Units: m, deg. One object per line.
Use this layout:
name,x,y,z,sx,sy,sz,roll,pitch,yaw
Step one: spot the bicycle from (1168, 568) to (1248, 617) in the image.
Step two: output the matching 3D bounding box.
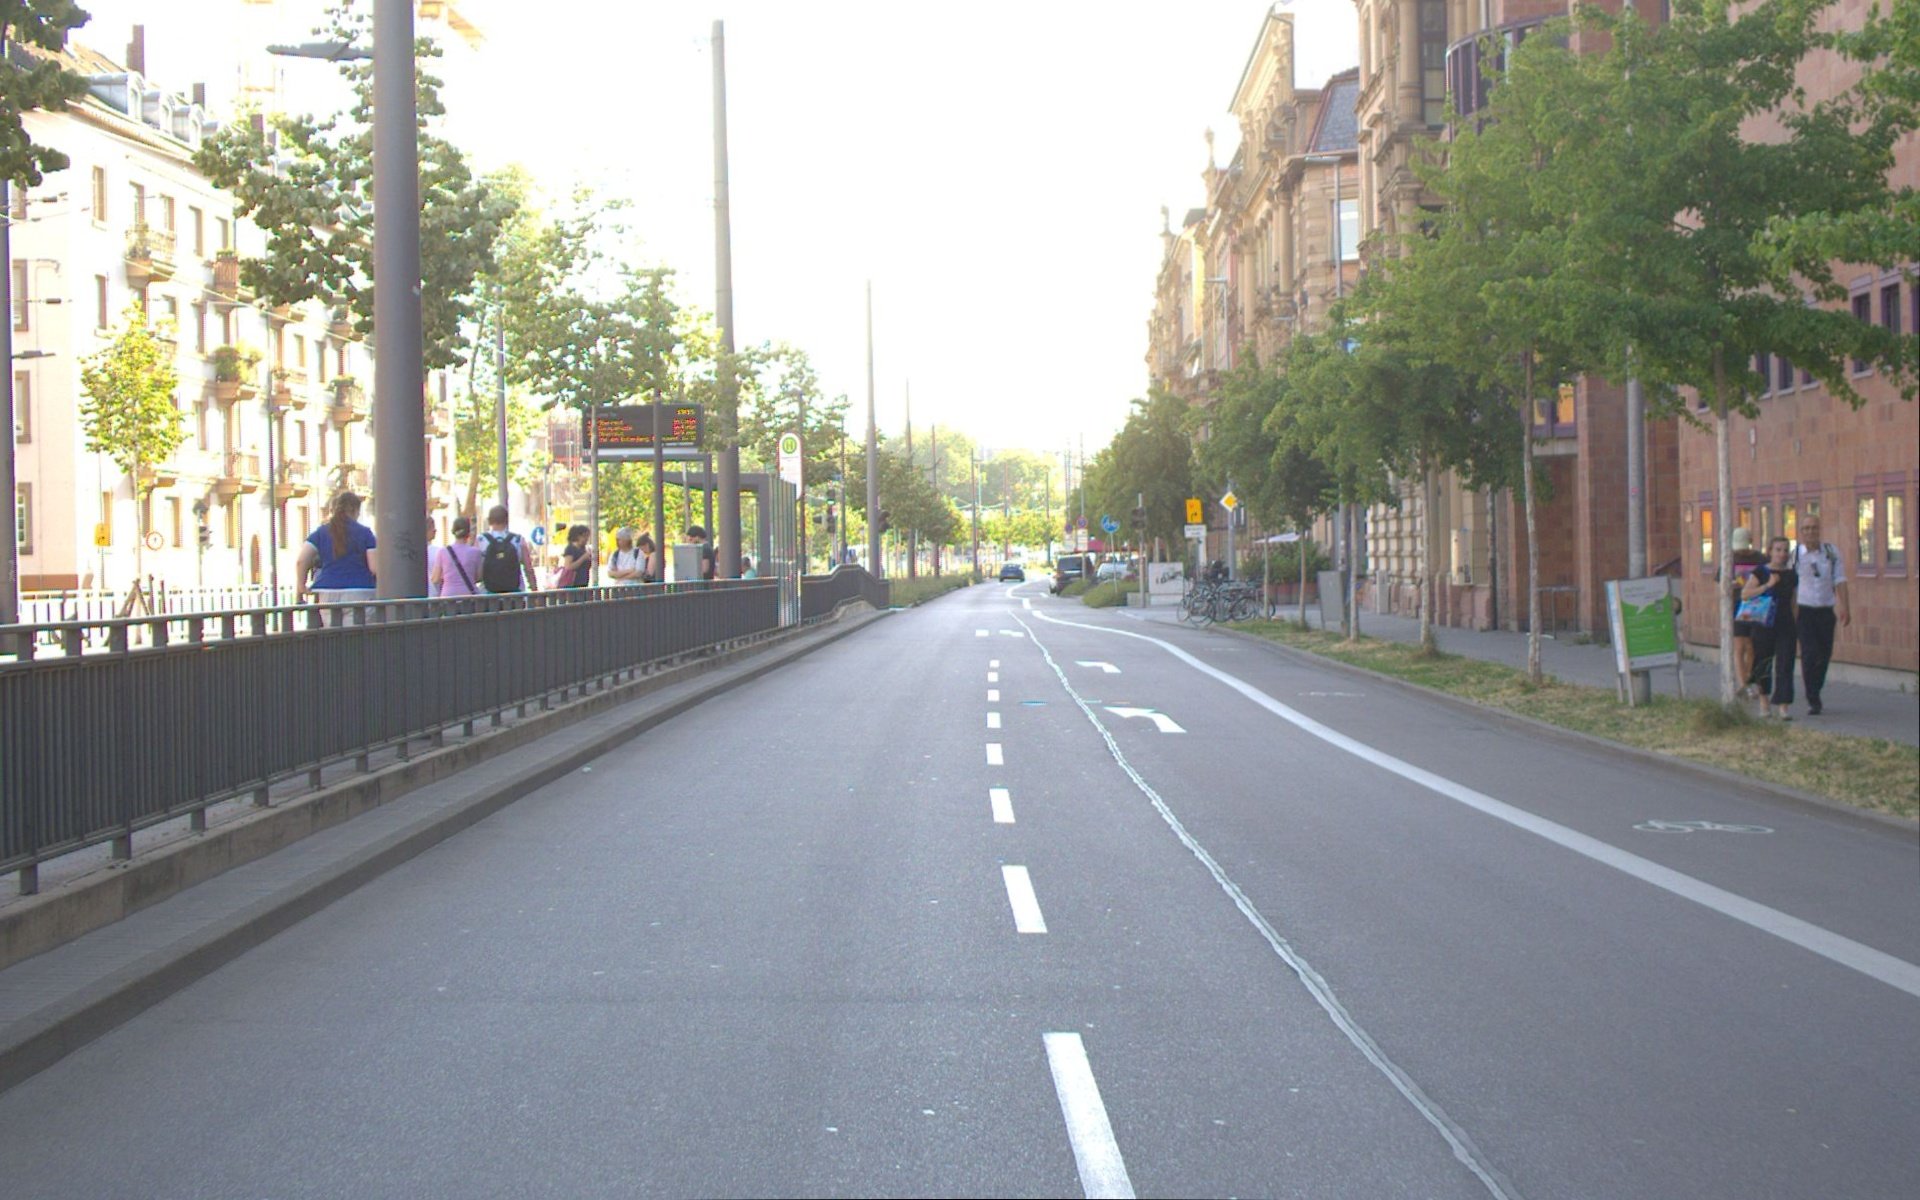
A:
bicycle,6.121,-0.194,84.998,1.825,1.061,0.664,-4,2,-4

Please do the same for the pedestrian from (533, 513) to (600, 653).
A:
pedestrian,-4.915,-0.212,42.946,0.719,1.726,0.651,-1,1,1

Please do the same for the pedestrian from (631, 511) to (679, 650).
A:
pedestrian,-3.838,-0.246,43.234,0.505,1.726,0.651,-1,1,0

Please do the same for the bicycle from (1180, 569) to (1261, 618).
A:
bicycle,6.320,-0.156,83.520,1.825,1.061,0.664,-4,2,-4

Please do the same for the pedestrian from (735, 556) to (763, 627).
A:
pedestrian,-3.586,-0.143,58.324,0.406,1.186,0.430,-1,1,-11

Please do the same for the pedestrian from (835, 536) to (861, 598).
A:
pedestrian,-2.993,-0.882,91.753,0.655,1.637,0.867,0,0,1

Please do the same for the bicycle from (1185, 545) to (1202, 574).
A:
bicycle,11.812,-2.055,173.923,0.661,1.397,2.352,-1,2,0

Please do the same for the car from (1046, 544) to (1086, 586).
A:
car,5.164,-1.735,167.623,1.885,1.930,4.473,-1,2,3

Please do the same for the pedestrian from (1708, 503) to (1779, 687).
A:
pedestrian,7.534,-0.054,33.077,0.536,1.750,0.422,-1,1,-5

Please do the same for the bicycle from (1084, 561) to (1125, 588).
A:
bicycle,6.002,-1.047,142.930,1.576,1.044,0.489,-3,1,-6

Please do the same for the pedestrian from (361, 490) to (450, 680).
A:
pedestrian,-4.951,-0.135,30.733,0.656,1.666,0.672,-1,1,-1

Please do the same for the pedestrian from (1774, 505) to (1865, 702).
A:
pedestrian,7.556,0.027,30.249,0.571,1.707,0.641,-1,0,-4

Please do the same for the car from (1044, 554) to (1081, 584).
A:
car,5.409,-1.655,180.859,1.850,1.452,4.156,-1,2,3

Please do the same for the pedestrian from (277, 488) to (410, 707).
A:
pedestrian,-4.797,-0.025,26.789,0.888,1.666,0.672,-1,1,-1

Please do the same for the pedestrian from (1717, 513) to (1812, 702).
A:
pedestrian,6.937,0.058,29.660,0.516,1.600,0.705,-1,0,-12

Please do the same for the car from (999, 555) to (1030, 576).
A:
car,4.002,-2.556,252.522,1.798,1.459,3.999,-1,1,8

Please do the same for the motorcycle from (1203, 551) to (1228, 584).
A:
motorcycle,10.824,-1.403,145.764,0.795,1.304,2.852,-3,2,1

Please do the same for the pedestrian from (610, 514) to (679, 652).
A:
pedestrian,-3.622,-0.198,39.503,0.673,1.556,0.906,-1,1,1

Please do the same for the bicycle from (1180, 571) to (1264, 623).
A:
bicycle,6.150,-0.072,80.767,1.825,1.061,0.664,-4,2,-4

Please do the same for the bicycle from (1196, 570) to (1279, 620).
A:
bicycle,6.627,-0.123,82.128,1.825,1.061,0.664,-4,2,-4

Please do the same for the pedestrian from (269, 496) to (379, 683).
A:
pedestrian,-5.121,-0.090,27.723,0.682,1.478,0.829,-1,1,3

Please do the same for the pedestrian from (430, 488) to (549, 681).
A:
pedestrian,-4.164,-0.143,30.499,0.888,1.666,1.096,-1,1,-1

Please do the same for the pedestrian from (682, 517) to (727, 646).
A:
pedestrian,-3.365,-0.249,45.292,0.505,1.673,0.651,-1,1,0
